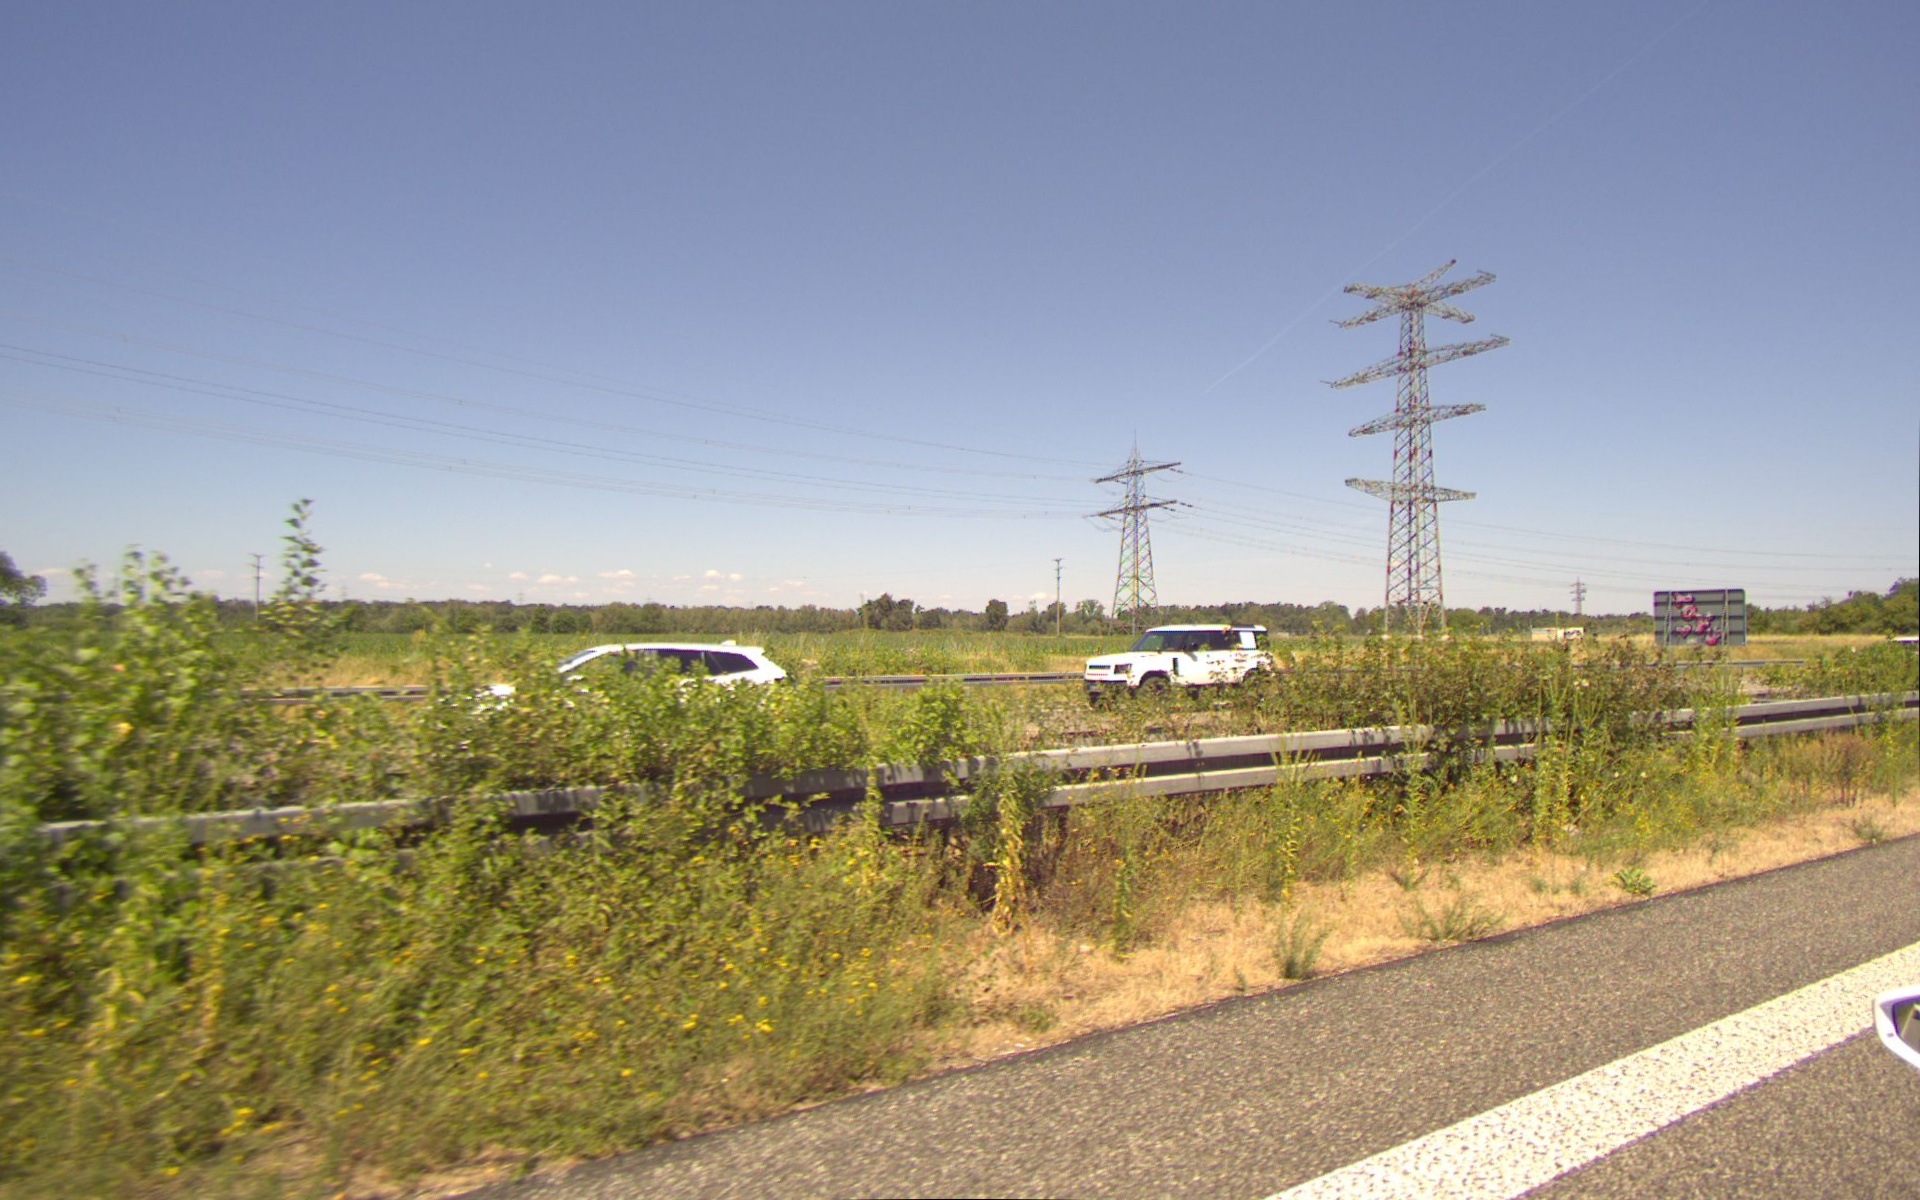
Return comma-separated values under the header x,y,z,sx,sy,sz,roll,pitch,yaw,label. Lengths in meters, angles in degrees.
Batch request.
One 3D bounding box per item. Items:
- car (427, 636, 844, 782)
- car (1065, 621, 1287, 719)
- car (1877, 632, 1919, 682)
x,y,z,sx,sy,sz,roll,pitch,yaw,label
-3.977,1.233,12.661,4.728,1.518,1.758,1,-2,-32,car
4.909,1.494,22.579,4.936,1.991,1.889,1,-1,-30,car
34.042,1.988,35.234,3.873,1.673,1.605,1,-1,-29,car
